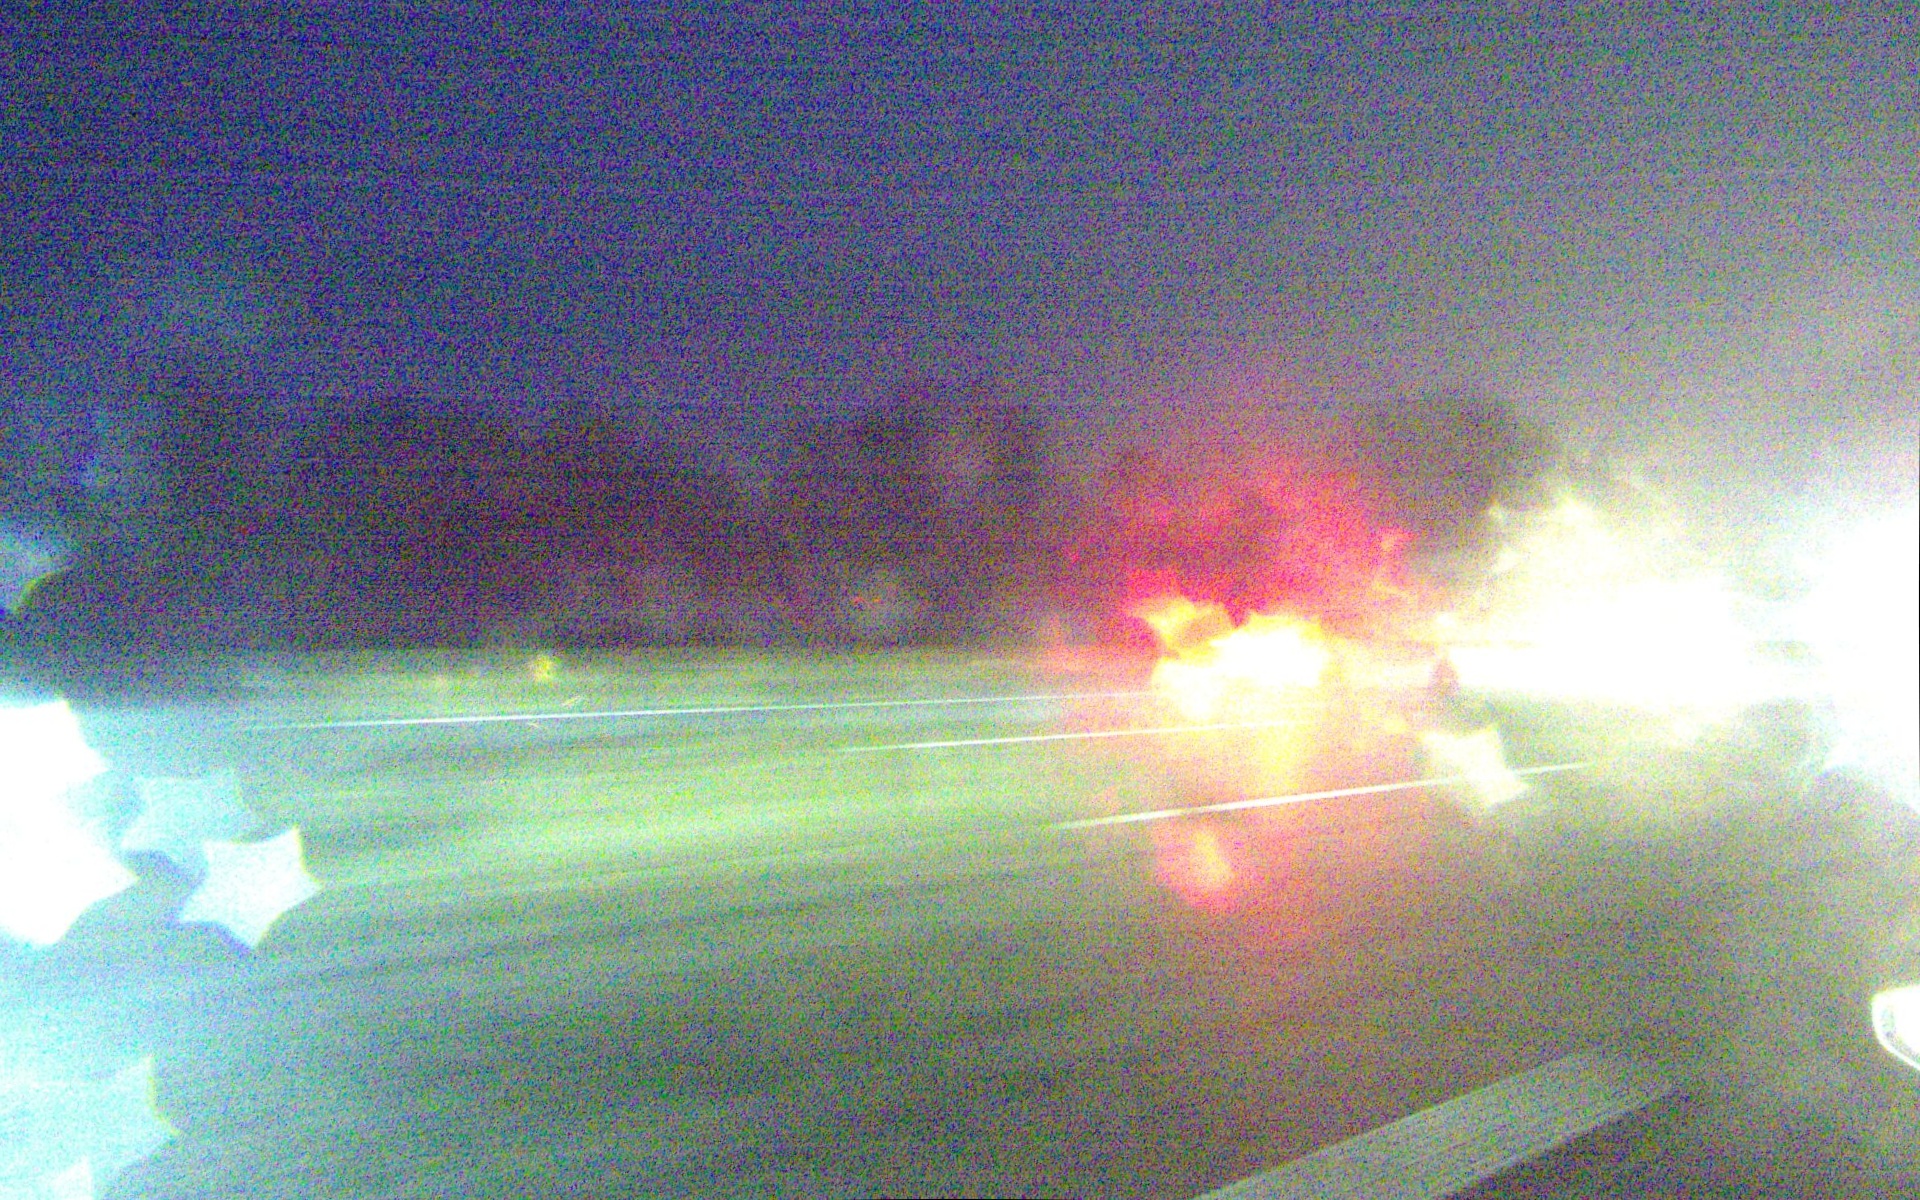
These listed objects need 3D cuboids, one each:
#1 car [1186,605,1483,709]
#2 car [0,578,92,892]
[{"bbox_3d":[6.404,0.902,16.993,5.107,1.496,1.983,2,0,-32],"label":"car"},{"bbox_3d":[-6.425,0.581,4.137,3.953,1.460,1.984,2,0,-30],"label":"car"}]
